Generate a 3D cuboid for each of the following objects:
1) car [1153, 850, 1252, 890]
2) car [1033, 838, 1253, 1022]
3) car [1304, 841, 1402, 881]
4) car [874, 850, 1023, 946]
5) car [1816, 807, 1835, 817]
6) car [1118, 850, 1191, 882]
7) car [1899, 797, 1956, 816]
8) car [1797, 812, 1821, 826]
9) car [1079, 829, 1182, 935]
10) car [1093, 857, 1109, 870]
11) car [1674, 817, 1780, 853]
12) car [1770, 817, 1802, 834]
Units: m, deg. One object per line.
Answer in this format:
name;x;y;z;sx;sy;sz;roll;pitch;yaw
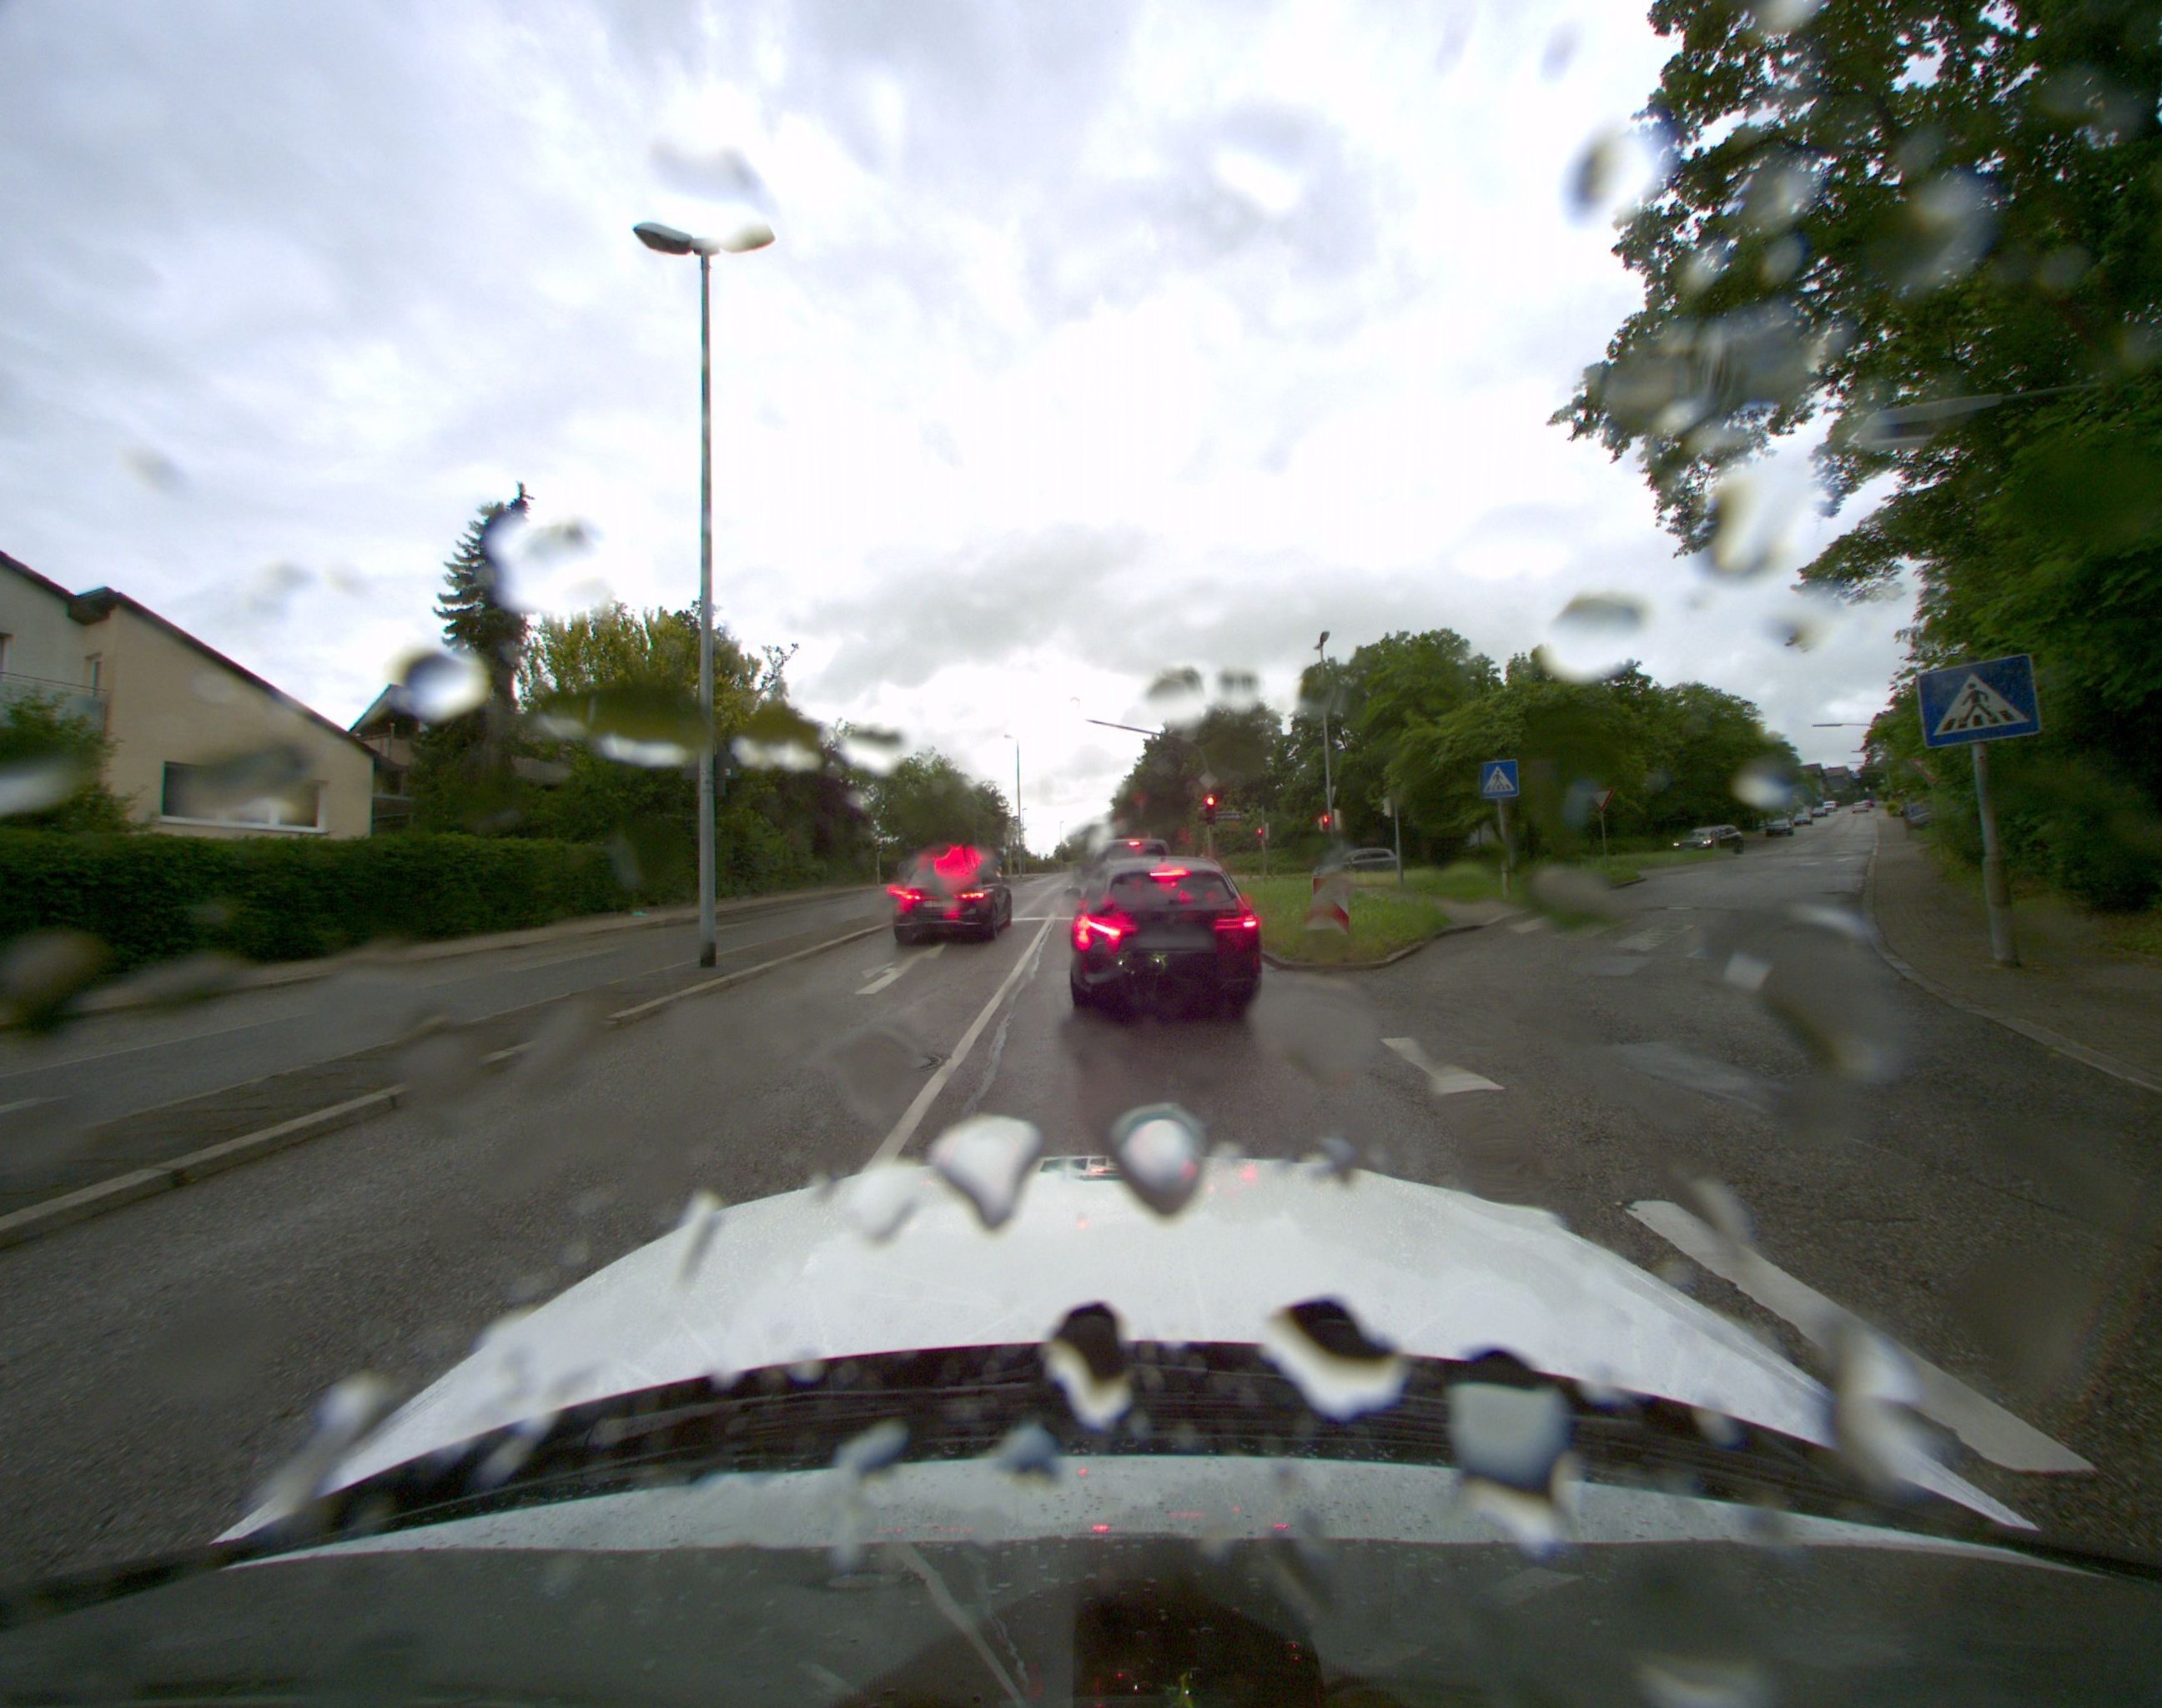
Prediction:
car;5.447;0.711;36.830;3.986;1.509;1.896;-3;0;-9
car;0.678;0.700;9.579;1.890;1.551;4.618;-3;-1;3
car;12.923;0.313;38.775;4.016;1.602;1.743;-3;0;-8
car;-2.422;0.773;16.115;1.986;1.527;4.330;-4;-1;2
car;114.492;-6.455;125.283;1.880;1.397;4.193;-2;-1;40
car;3.928;0.636;43.397;3.471;1.427;1.712;-4;0;22
car;87.642;-4.867;84.381;3.949;1.574;1.785;-5;-1;42
car;88.223;-4.238;98.738;1.971;1.446;4.321;-2;-1;40
car;0.970;0.523;16.612;1.811;1.868;3.954;-1;-1;2
car;2.706;1.228;110.398;1.986;1.624;3.954;-4;-1;2
car;36.248;-1.050;45.728;4.702;1.717;1.993;-3;0;-10
car;66.311;-2.667;76.591;4.318;1.450;1.881;0;-1;-44
